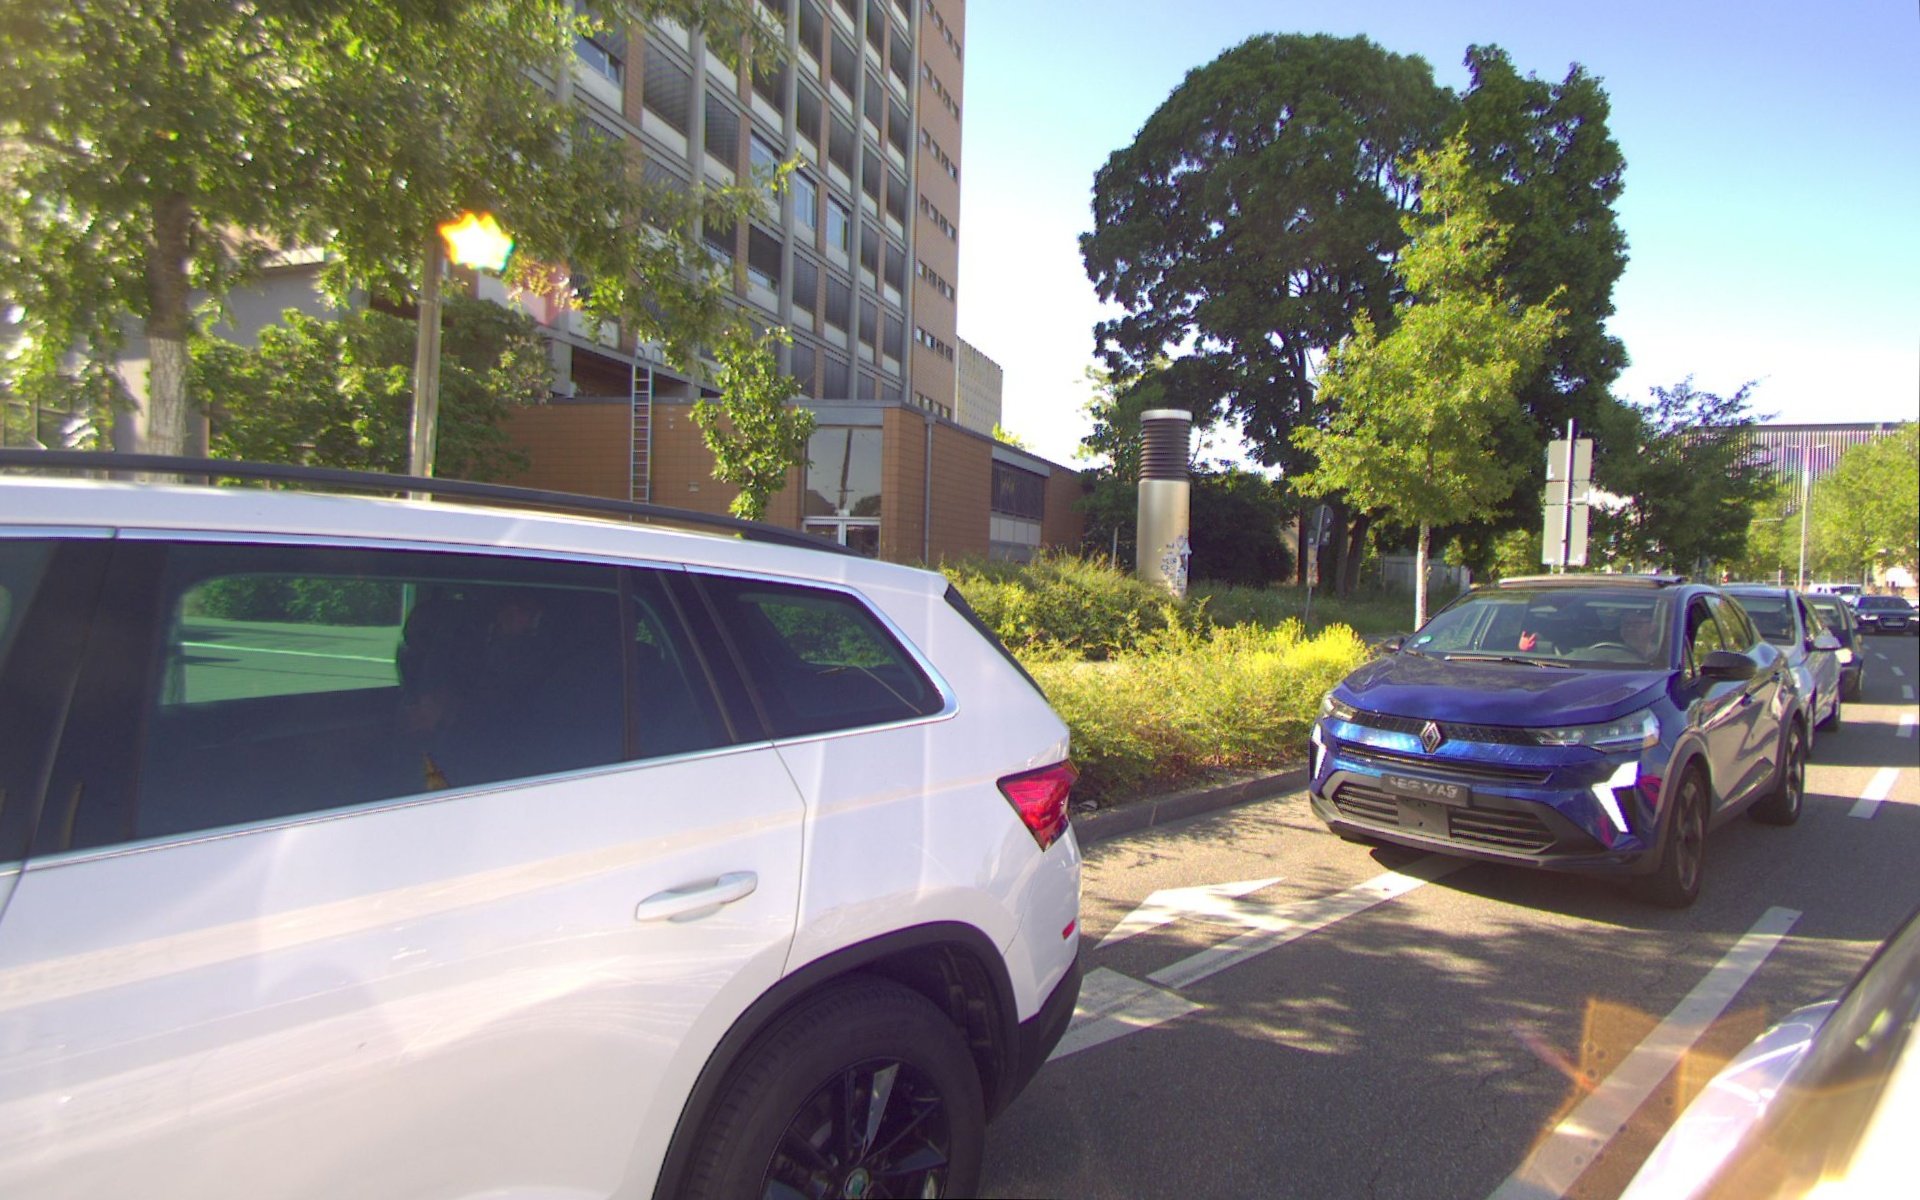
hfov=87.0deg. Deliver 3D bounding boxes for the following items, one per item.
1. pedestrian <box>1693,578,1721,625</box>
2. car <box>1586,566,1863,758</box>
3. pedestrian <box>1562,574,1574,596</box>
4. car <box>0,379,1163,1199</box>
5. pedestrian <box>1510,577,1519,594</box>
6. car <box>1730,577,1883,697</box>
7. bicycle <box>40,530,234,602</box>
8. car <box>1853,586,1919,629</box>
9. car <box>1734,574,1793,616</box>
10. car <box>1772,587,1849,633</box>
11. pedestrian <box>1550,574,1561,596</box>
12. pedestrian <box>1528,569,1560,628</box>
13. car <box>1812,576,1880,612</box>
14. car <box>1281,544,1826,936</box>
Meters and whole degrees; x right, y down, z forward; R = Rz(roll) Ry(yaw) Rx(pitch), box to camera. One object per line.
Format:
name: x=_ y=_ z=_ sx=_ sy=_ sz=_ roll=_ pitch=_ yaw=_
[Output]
pedestrian: x=26.297 y=0.040 z=35.634 sx=0.655 sy=1.624 sz=0.686 roll=2 pitch=1 yaw=27
car: x=8.248 y=0.504 z=10.786 sx=3.977 sy=1.644 sz=1.782 roll=0 pitch=2 yaw=-45
pedestrian: x=53.062 y=-1.311 z=88.326 sx=0.814 sy=1.941 sz=0.764 roll=0 pitch=0 yaw=28
car: x=-1.652 y=0.572 z=1.636 sx=4.223 sy=1.662 sz=1.697 roll=0 pitch=2 yaw=-42
pedestrian: x=60.508 y=-1.587 z=110.468 sx=0.812 sy=1.941 sz=0.766 roll=0 pitch=0 yaw=23
car: x=13.296 y=0.485 z=15.836 sx=1.646 sy=1.630 sz=3.436 roll=3 pitch=2 yaw=43
bicycle: x=-17.095 y=-0.690 z=21.163 sx=0.790 sy=1.394 sz=3.111 roll=2 pitch=2 yaw=26
car: x=34.550 y=0.251 z=37.327 sx=1.869 sy=1.499 sz=3.952 roll=1 pitch=1 yaw=34
car: x=38.697 y=-0.267 z=48.811 sx=1.815 sy=1.876 sz=3.709 roll=2 pitch=2 yaw=32
car: x=29.588 y=0.302 z=35.297 sx=1.741 sy=1.494 sz=3.530 roll=0 pitch=1 yaw=35
pedestrian: x=52.301 y=-1.315 z=88.876 sx=0.814 sy=1.941 sz=0.764 roll=0 pitch=0 yaw=28
pedestrian: x=16.365 y=-0.042 z=28.375 sx=0.688 sy=1.624 sz=0.653 roll=2 pitch=1 yaw=35
car: x=53.218 y=-0.400 z=60.888 sx=1.767 sy=2.039 sz=4.202 roll=1 pitch=1 yaw=22
car: x=3.805 y=0.555 z=6.172 sx=4.013 sy=1.626 sz=1.703 roll=0 pitch=1 yaw=-42
